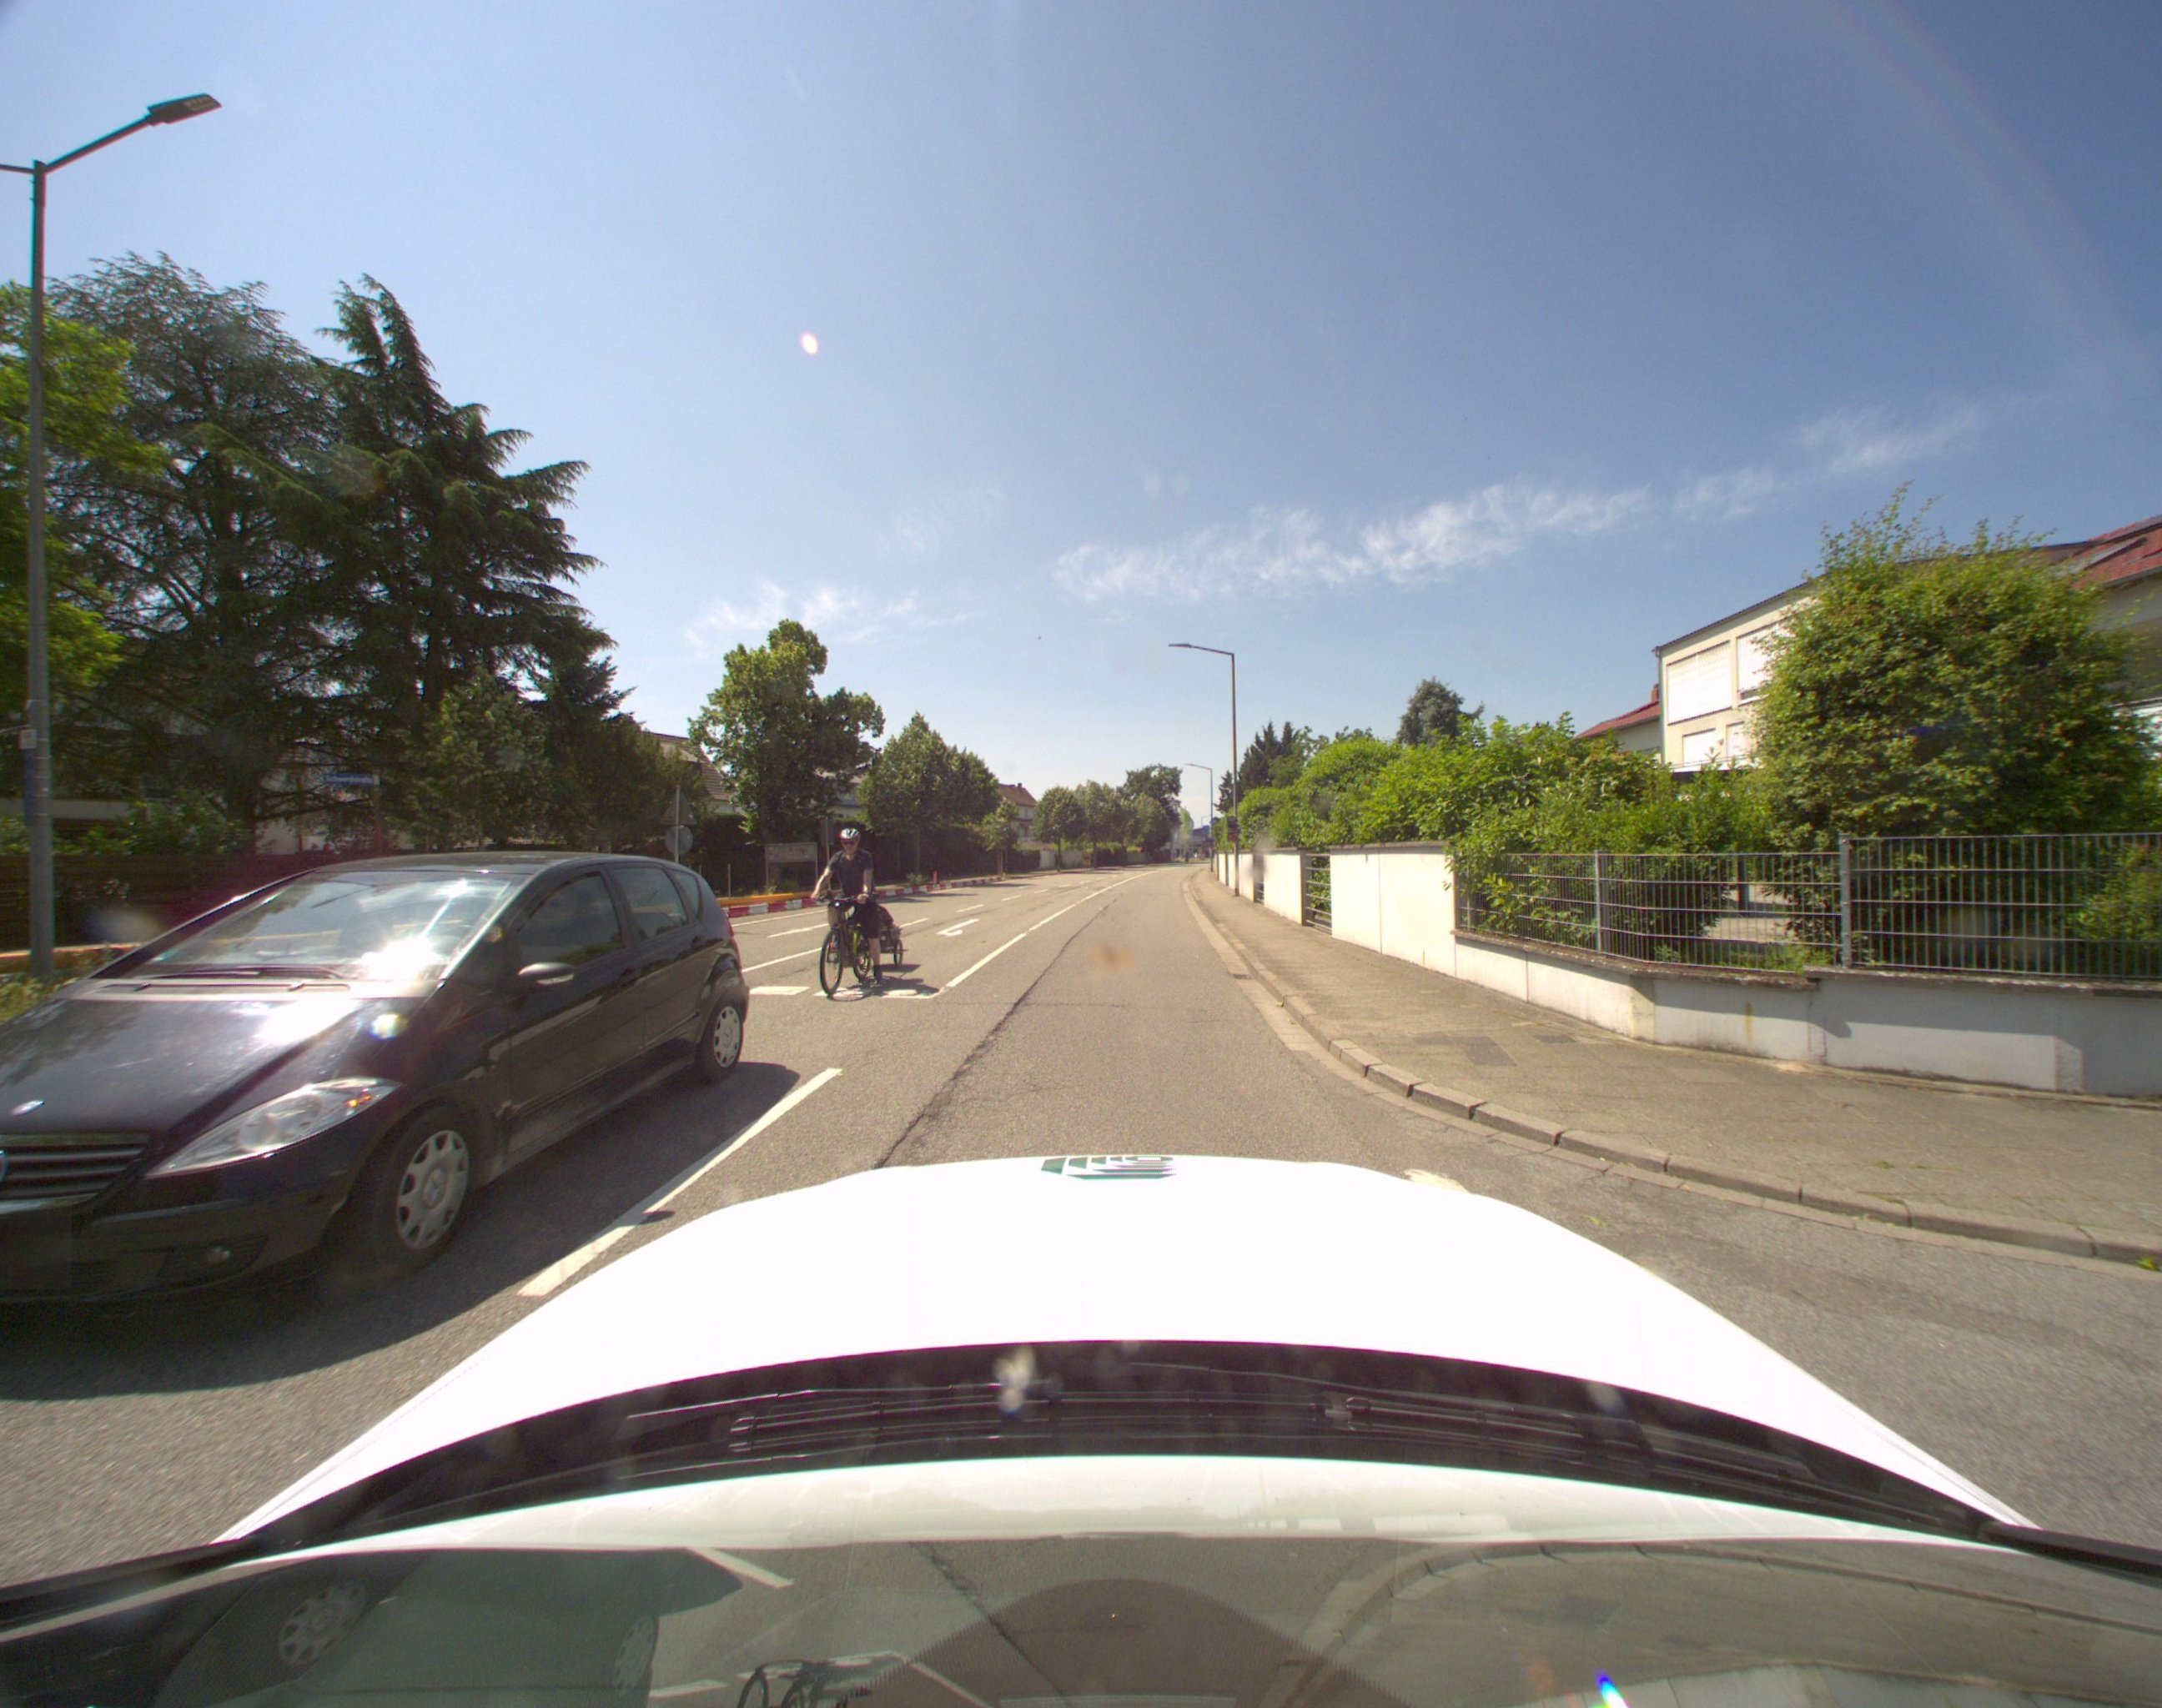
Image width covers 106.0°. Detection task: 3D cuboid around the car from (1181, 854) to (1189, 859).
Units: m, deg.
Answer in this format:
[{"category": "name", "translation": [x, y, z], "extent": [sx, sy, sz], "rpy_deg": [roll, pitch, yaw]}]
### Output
[{"category": "car", "translation": [26.546, 0.627, 207.535], "extent": [1.605, 1.420, 3.727], "rpy_deg": [-2, 0, 15]}]

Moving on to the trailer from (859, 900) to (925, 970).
[{"category": "trailer", "translation": [-2.602, 1.100, 11.305], "extent": [0.568, 0.856, 1.133], "rpy_deg": [-1, 0, 3]}]

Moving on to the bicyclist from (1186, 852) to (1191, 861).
[{"category": "bicyclist", "translation": [16.950, 0.462, 128.632], "extent": [0.623, 1.408, 0.679], "rpy_deg": [-1, 0, 15]}]

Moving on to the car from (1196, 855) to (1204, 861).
[{"category": "car", "translation": [30.232, 1.032, 206.916], "extent": [1.605, 1.420, 3.727], "rpy_deg": [-2, 0, 15]}]

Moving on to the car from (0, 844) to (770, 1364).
[{"category": "car", "translation": [-3.254, 0.742, 4.319], "extent": [1.720, 1.532, 3.829], "rpy_deg": [1, 0, 0]}]

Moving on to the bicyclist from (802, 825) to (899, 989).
[{"category": "bicyclist", "translation": [-2.723, 0.603, 9.721], "extent": [0.842, 1.865, 0.977], "rpy_deg": [0, -1, 3]}]

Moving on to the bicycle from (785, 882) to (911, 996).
[{"category": "bicycle", "translation": [-2.720, 0.953, 9.753], "extent": [0.847, 1.166, 1.978], "rpy_deg": [0, 0, 3]}]

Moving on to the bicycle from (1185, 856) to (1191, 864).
[{"category": "bicycle", "translation": [16.960, 0.946, 128.642], "extent": [0.627, 1.180, 1.823], "rpy_deg": [-1, 0, 15]}]
